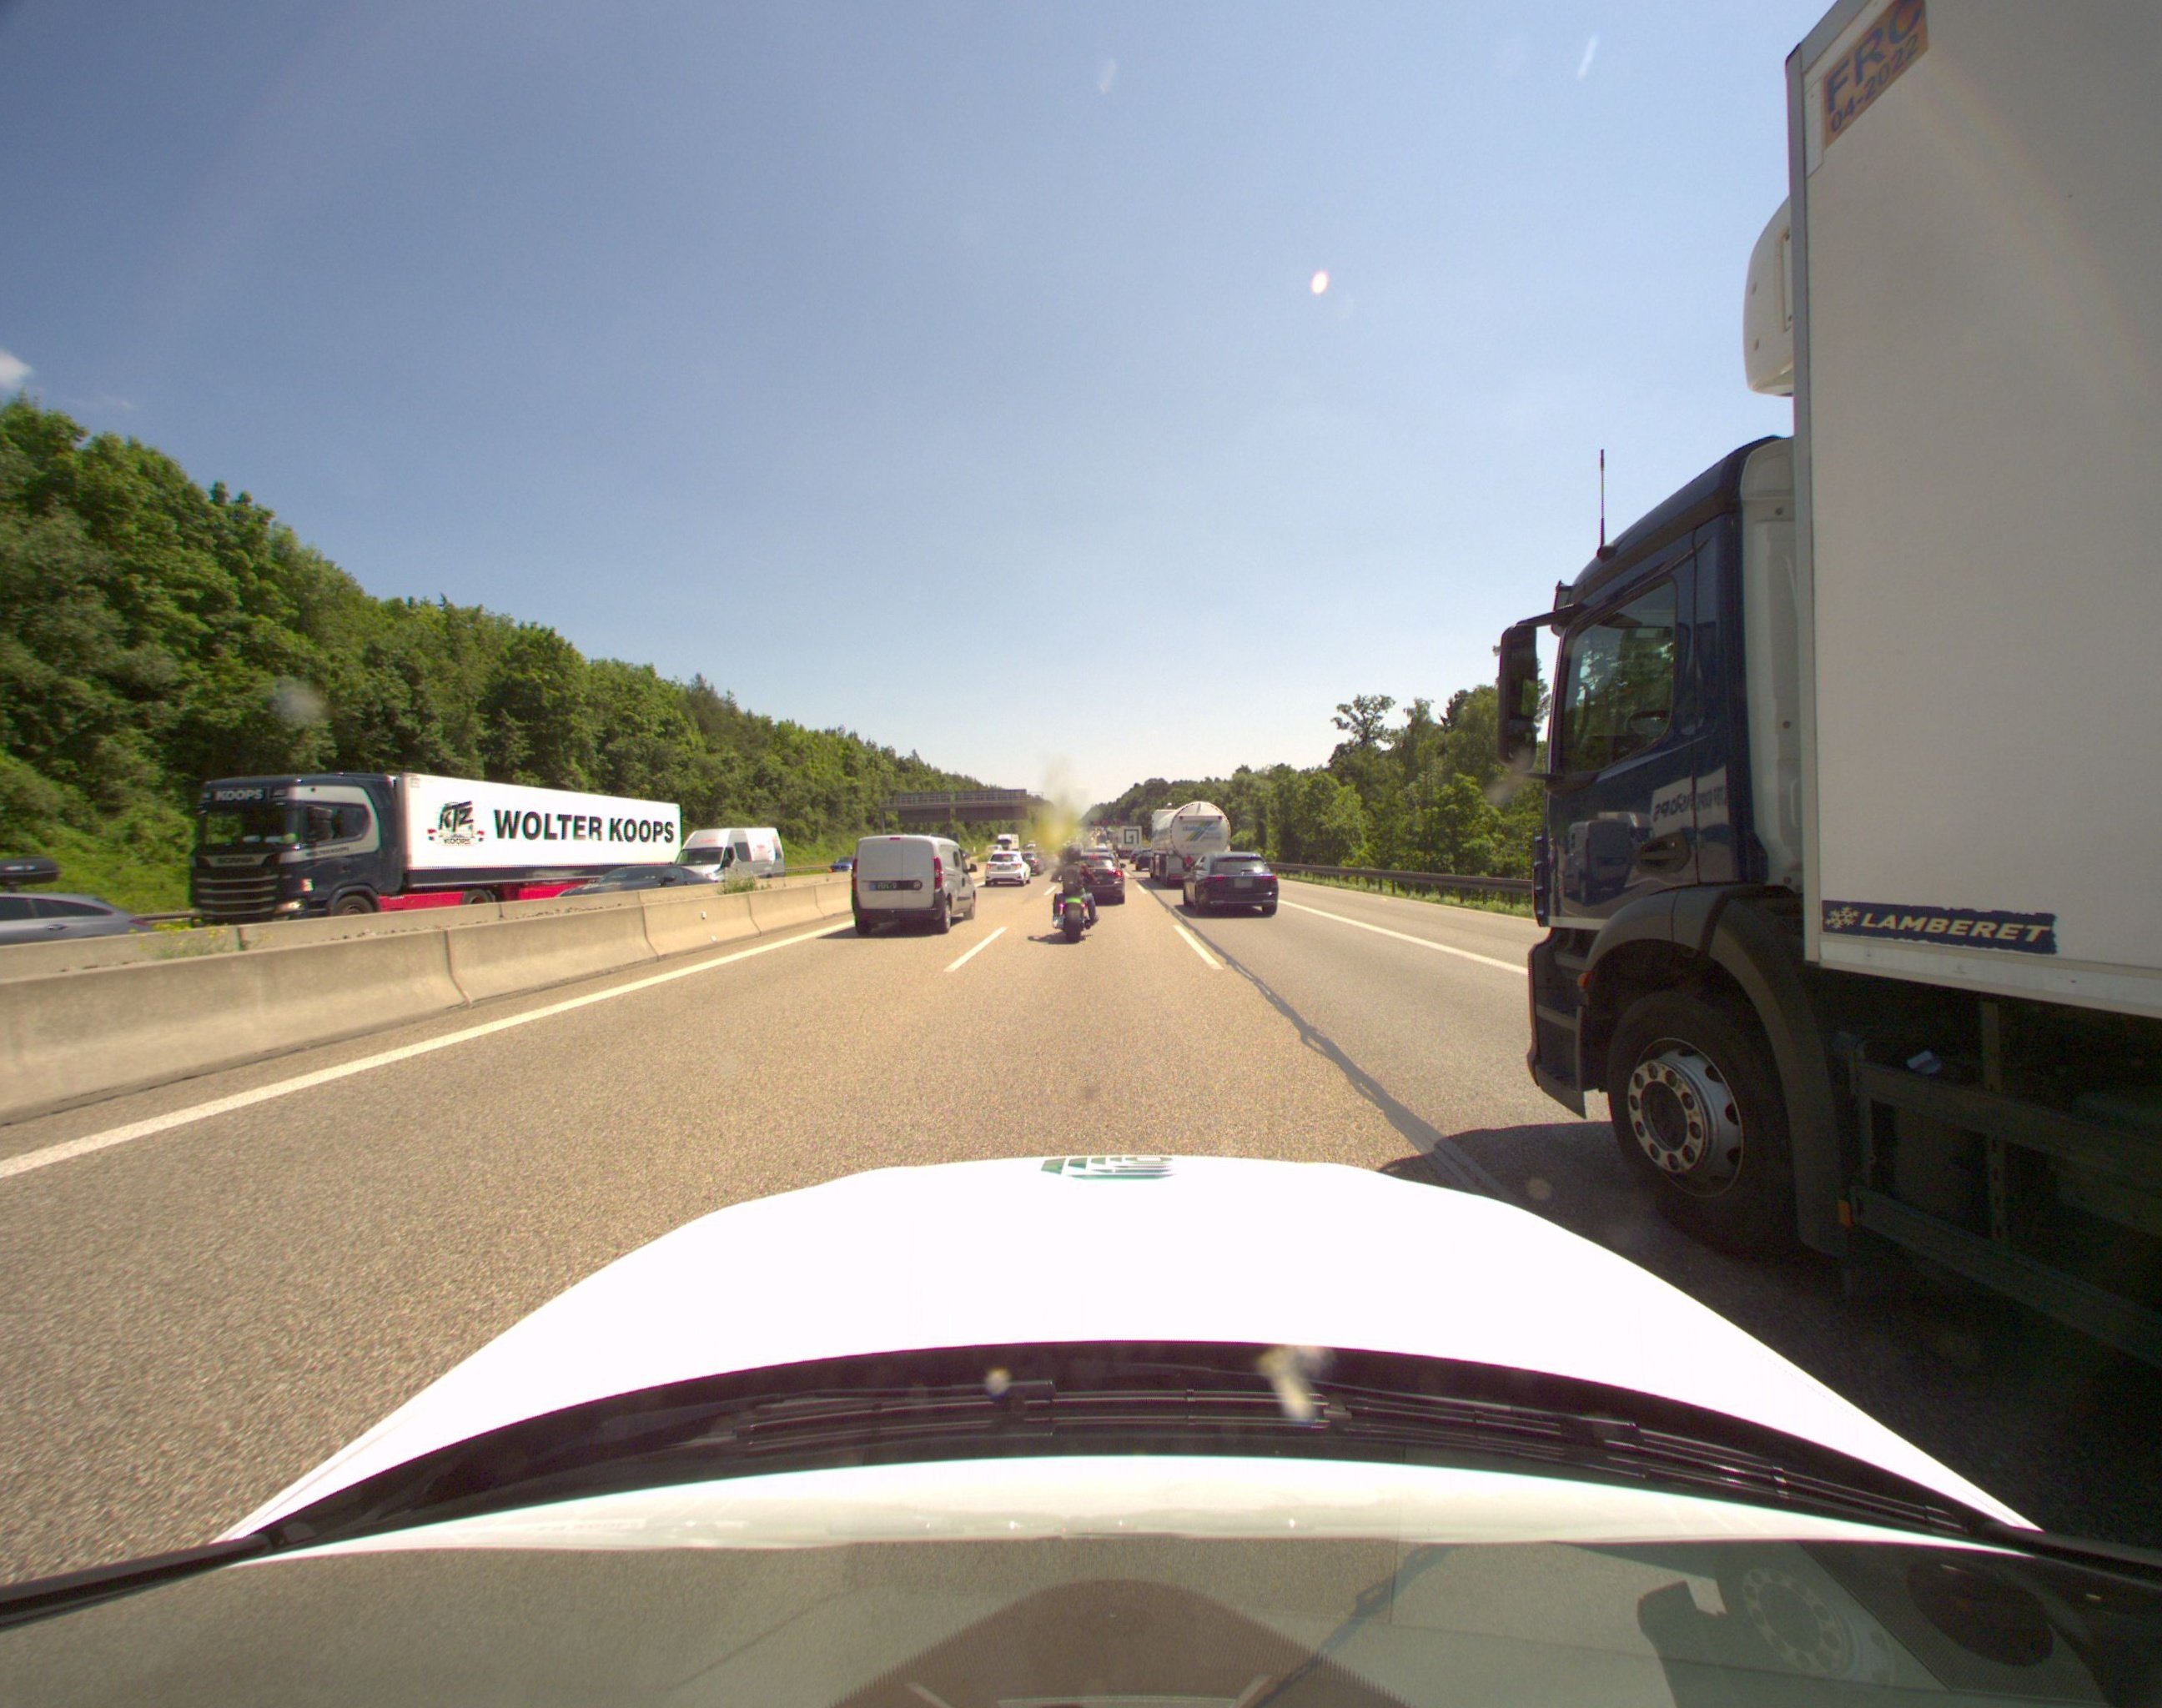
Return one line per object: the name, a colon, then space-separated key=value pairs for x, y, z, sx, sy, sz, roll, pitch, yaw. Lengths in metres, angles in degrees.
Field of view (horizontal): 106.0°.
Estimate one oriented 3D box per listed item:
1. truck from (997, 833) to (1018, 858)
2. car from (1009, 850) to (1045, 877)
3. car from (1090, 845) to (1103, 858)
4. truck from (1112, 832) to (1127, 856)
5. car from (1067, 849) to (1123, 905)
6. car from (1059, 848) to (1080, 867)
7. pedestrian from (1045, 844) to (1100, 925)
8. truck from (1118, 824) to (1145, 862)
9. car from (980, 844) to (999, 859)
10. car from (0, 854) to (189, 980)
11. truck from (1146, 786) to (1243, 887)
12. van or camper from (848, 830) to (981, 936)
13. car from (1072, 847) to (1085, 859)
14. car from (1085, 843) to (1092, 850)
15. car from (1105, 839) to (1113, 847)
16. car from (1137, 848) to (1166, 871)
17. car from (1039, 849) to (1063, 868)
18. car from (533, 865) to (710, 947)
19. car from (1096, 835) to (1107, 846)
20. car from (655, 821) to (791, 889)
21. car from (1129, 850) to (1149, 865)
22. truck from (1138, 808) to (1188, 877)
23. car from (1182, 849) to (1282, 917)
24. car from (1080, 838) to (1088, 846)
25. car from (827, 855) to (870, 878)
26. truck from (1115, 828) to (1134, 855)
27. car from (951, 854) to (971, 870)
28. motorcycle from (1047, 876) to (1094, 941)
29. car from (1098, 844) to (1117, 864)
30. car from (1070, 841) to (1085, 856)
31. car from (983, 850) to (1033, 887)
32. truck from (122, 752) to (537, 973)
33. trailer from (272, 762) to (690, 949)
truck: x=-14.339 y=-1.665 z=160.562 sx=2.755 sy=4.740 sz=10.475 roll=-2 pitch=0 yaw=2
car: x=-3.174 y=0.525 z=48.473 sx=1.693 sy=1.478 sz=4.001 roll=-2 pitch=0 yaw=1
car: x=2.661 y=-0.464 z=136.432 sx=1.986 sy=2.013 sz=4.001 roll=-4 pitch=-1 yaw=2
truck: x=8.250 y=-2.089 z=176.162 sx=3.022 sy=5.139 sz=9.986 roll=-1 pitch=0 yaw=2
car: x=0.415 y=0.638 z=24.378 sx=1.527 sy=1.510 sz=4.000 roll=-1 pitch=0 yaw=1
car: x=-1.161 y=0.318 z=82.948 sx=1.873 sy=1.859 sz=4.002 roll=-1 pitch=0 yaw=2
pedestrian: x=-0.145 y=0.532 z=14.671 sx=0.846 sy=1.362 sz=0.962 roll=-4 pitch=0 yaw=2
truck: x=6.405 y=-1.365 z=104.820 sx=3.022 sy=4.542 sz=9.986 roll=-1 pitch=0 yaw=2
car: x=-12.938 y=-0.340 z=115.009 sx=1.873 sy=2.013 sz=4.470 roll=-5 pitch=-1 yaw=2
car: x=-14.643 y=0.862 z=10.263 sx=1.680 sy=1.607 sz=4.515 roll=-4 pitch=-1 yaw=2
truck: x=4.719 y=-0.605 z=35.855 sx=2.977 sy=3.671 sz=9.290 roll=-4 pitch=-1 yaw=2
van or camper: x=-3.303 y=0.562 z=16.997 sx=1.789 sy=1.892 sz=4.161 roll=-1 pitch=-1 yaw=1
car: x=-0.424 y=-0.090 z=148.490 sx=1.986 sy=2.013 sz=4.001 roll=-4 pitch=-1 yaw=2
car: x=2.130 y=-2.273 z=241.924 sx=1.986 sy=2.013 sz=4.002 roll=-1 pitch=0 yaw=2
car: x=7.589 y=-3.013 z=218.264 sx=1.986 sy=2.013 sz=4.001 roll=-4 pitch=-1 yaw=2
car: x=4.937 y=0.373 z=57.185 sx=1.780 sy=1.555 sz=3.805 roll=-2 pitch=0 yaw=1
car: x=-2.507 y=0.382 z=68.239 sx=1.693 sy=1.478 sz=4.001 roll=-2 pitch=0 yaw=1
car: x=-10.667 y=1.134 z=19.293 sx=1.680 sy=1.607 sz=4.127 roll=-4 pitch=-1 yaw=1
car: x=5.012 y=-3.167 z=197.699 sx=2.495 sy=2.587 sz=5.018 roll=-2 pitch=0 yaw=1
car: x=-14.110 y=0.012 z=32.807 sx=1.986 sy=2.377 sz=7.367 roll=-2 pitch=0 yaw=2
car: x=5.713 y=0.369 z=80.255 sx=1.780 sy=1.374 sz=3.805 roll=-2 pitch=0 yaw=1
truck: x=4.447 y=-0.569 z=44.848 sx=1.988 sy=3.522 sz=4.749 roll=-4 pitch=-1 yaw=-1
car: x=3.606 y=0.645 z=20.099 sx=1.822 sy=1.470 sz=4.001 roll=-1 pitch=0 yaw=2
car: x=0.713 y=-3.205 z=219.081 sx=1.986 sy=2.013 sz=4.001 roll=-2 pitch=0 yaw=1
car: x=-17.369 y=0.896 z=61.016 sx=1.873 sy=1.593 sz=4.001 roll=-2 pitch=0 yaw=1
truck: x=7.602 y=-2.153 z=143.894 sx=3.022 sy=4.542 sz=9.986 roll=-1 pitch=0 yaw=2
car: x=-16.011 y=1.084 z=108.916 sx=1.820 sy=2.013 sz=3.881 roll=-4 pitch=-1 yaw=2
motorcycle: x=-0.150 y=0.933 z=14.582 sx=0.688 sy=1.015 sz=2.123 roll=-1 pitch=0 yaw=3
car: x=2.988 y=0.027 z=90.833 sx=1.986 sy=2.013 sz=4.001 roll=-4 pitch=-1 yaw=2
car: x=-0.475 y=-0.810 z=120.793 sx=1.922 sy=2.013 sz=4.002 roll=-4 pitch=-1 yaw=2
car: x=-3.159 y=0.599 z=35.864 sx=1.693 sy=1.478 sz=4.001 roll=-2 pitch=0 yaw=1
truck: x=-18.676 y=0.222 z=21.244 sx=3.712 sy=4.528 sz=7.326 roll=-4 pitch=-1 yaw=1
trailer: x=-18.538 y=0.122 z=27.464 sx=3.711 sy=4.528 sz=13.334 roll=-4 pitch=-1 yaw=2
